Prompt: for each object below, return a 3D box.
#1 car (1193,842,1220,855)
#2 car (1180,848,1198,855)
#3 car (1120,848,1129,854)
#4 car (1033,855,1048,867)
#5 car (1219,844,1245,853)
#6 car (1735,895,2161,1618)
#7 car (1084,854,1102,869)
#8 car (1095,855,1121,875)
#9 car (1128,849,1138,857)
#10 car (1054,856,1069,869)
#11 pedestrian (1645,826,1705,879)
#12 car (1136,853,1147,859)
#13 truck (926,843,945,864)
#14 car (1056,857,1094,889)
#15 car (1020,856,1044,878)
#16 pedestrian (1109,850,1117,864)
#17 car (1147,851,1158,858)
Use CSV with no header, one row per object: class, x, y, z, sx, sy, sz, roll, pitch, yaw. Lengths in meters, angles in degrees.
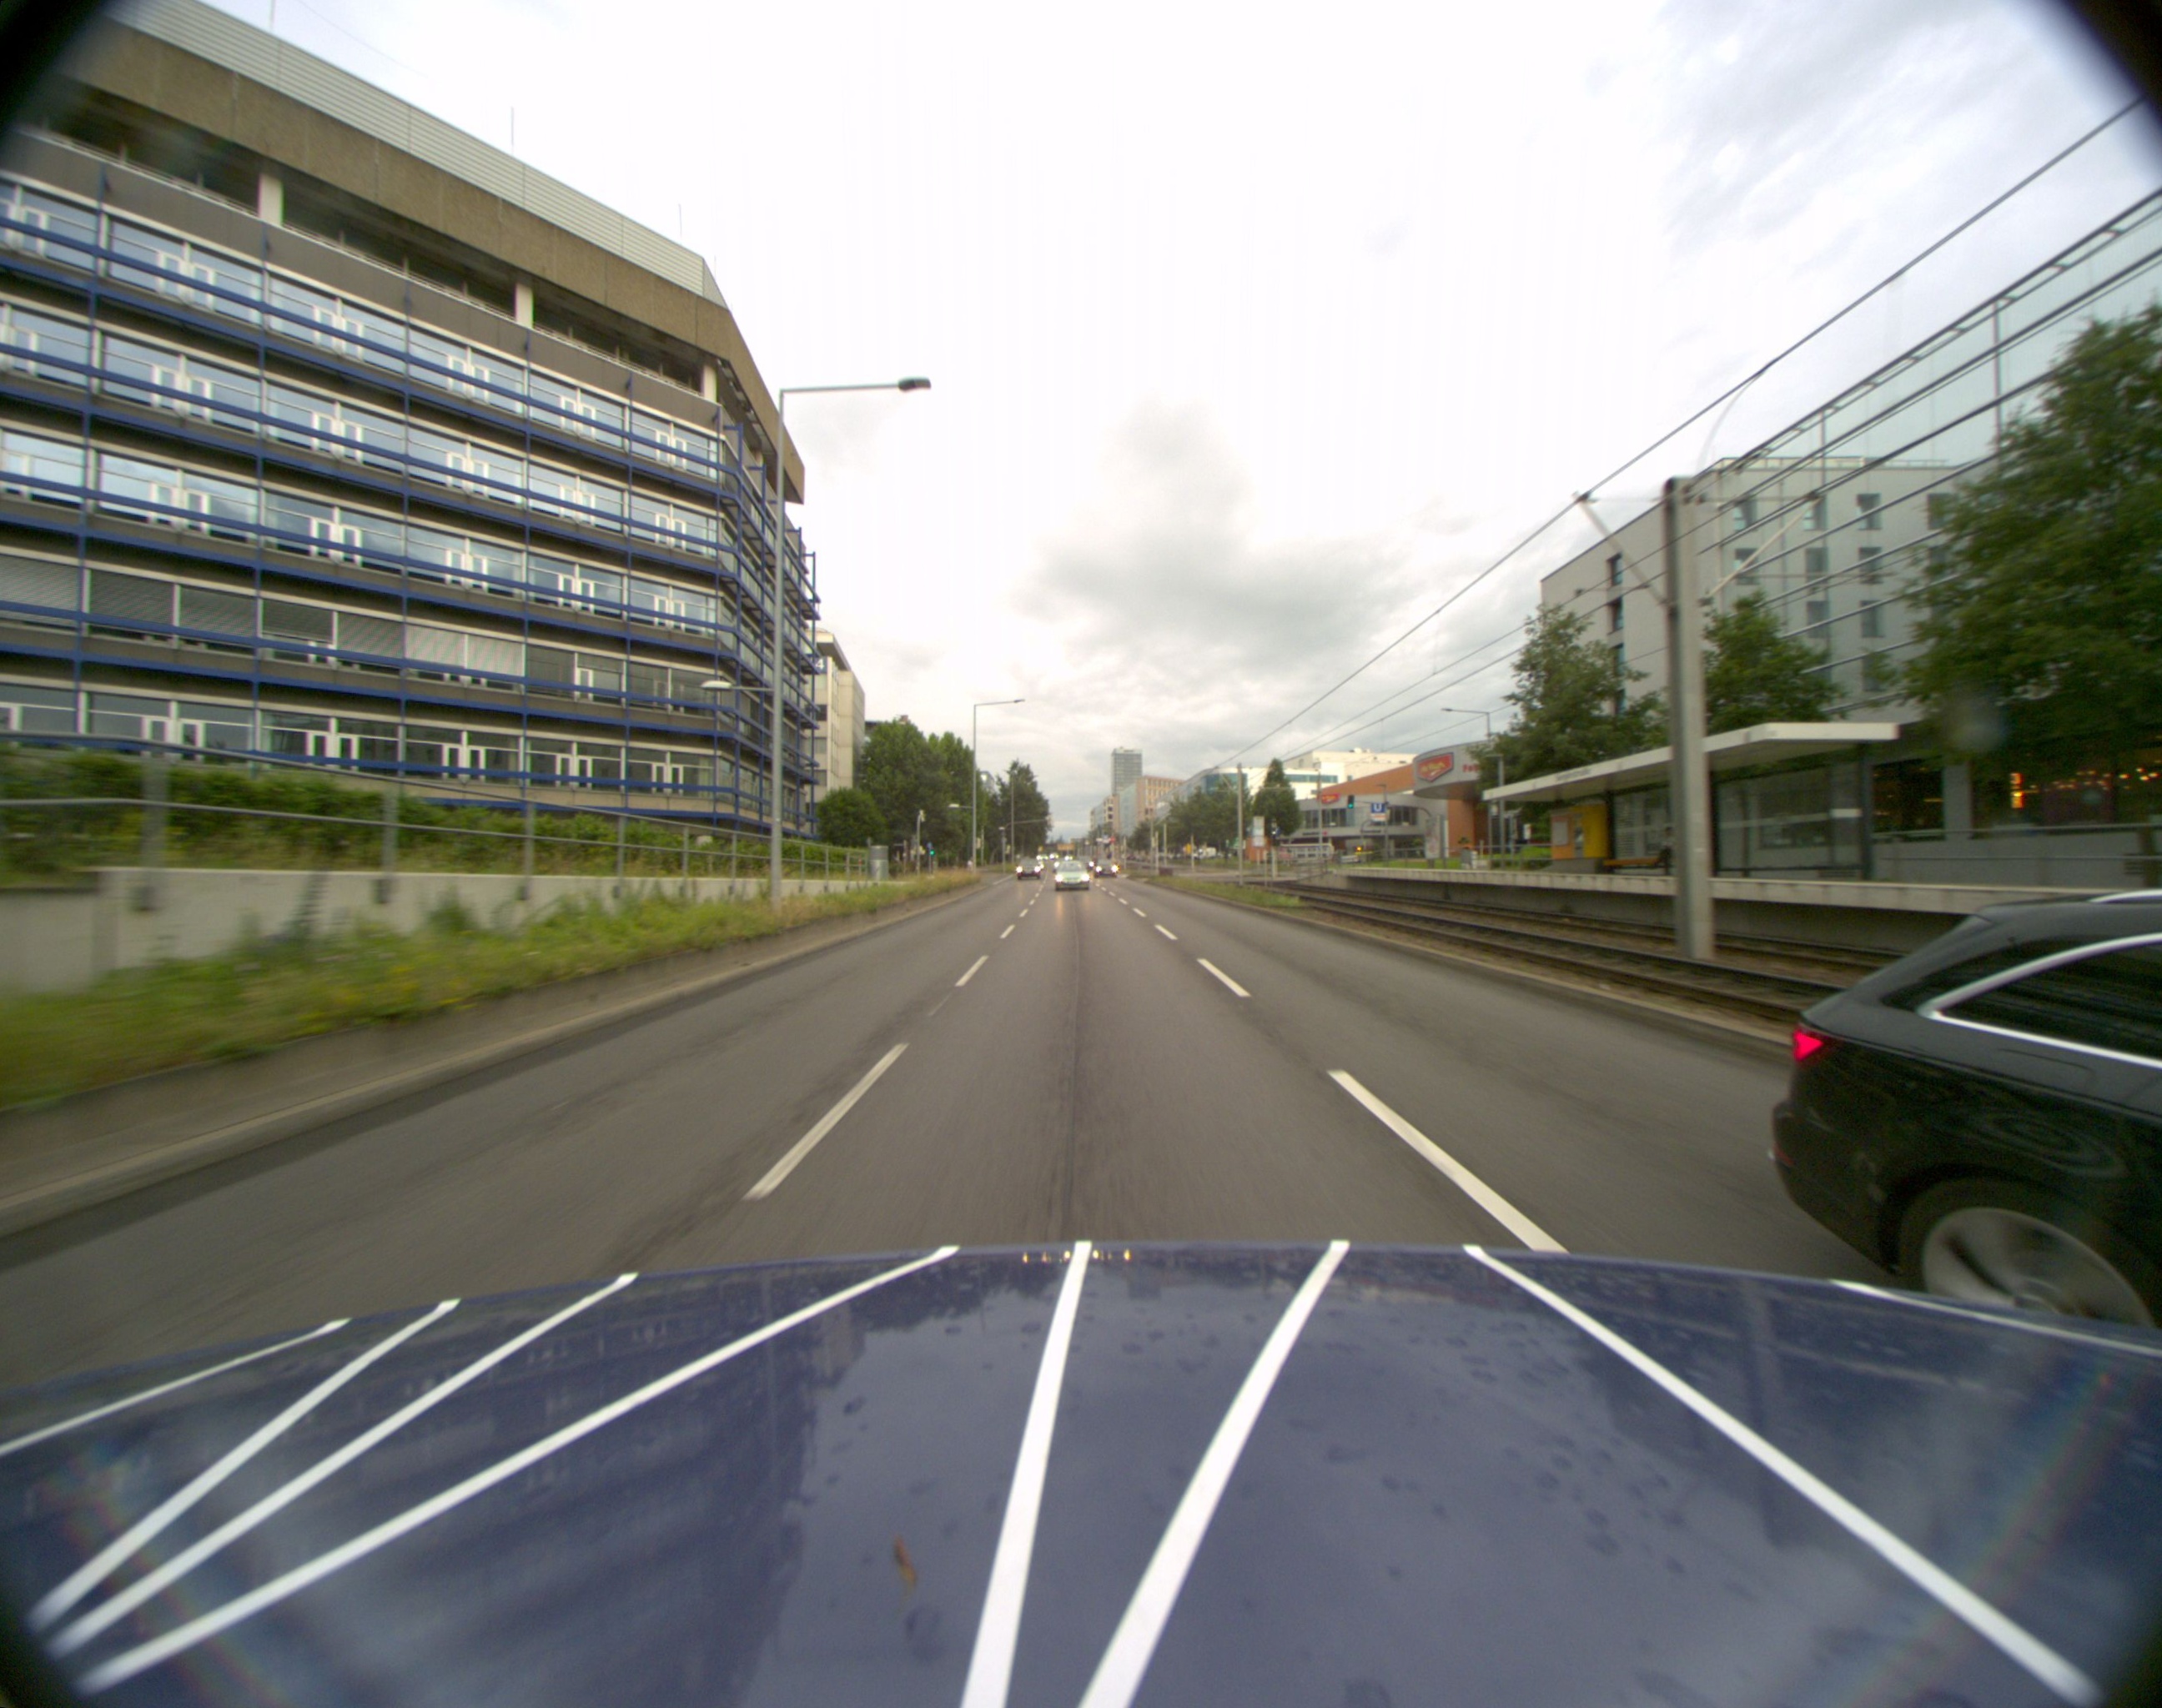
car,29.068,-1.286,176.048,5.489,2.614,2.275,-3,1,-19
car,27.135,-0.628,190.860,4.000,1.652,1.920,-3,1,-9
car,13.190,-0.934,231.855,1.999,1.509,4.705,-2,1,-4
car,-5.325,0.870,101.048,1.873,1.533,4.105,-2,0,-2
car,35.285,-1.274,177.653,5.484,1.915,2.277,-2,1,-8
car,3.117,0.878,0.210,1.794,1.426,4.829,-2,0,2
car,1.398,0.852,89.884,1.781,1.670,4.129,-2,0,-2
car,2.127,0.900,61.384,1.799,1.493,3.999,-2,0,-1
car,13.139,-0.276,191.432,1.999,1.764,4.387,-1,0,-2
car,-2.422,1.035,92.294,1.781,1.552,3.739,-2,0,-2
pedestrian,14.655,-0.037,18.759,0.964,1.292,0.684,-1,1,-1
car,13.867,0.392,173.783,1.858,1.419,4.387,1,0,-4
truck,-18.172,-0.100,94.991,1.751,2.503,3.997,-2,1,-5
car,-0.371,0.962,39.843,1.804,1.533,4.373,-2,0,-2
car,-3.934,1.047,61.629,1.816,1.660,4.547,-2,0,-2
pedestrian,3.869,0.372,92.475,0.704,1.641,0.648,-2,1,-30
car,14.777,0.176,156.166,1.733,1.415,3.778,-1,0,-2
